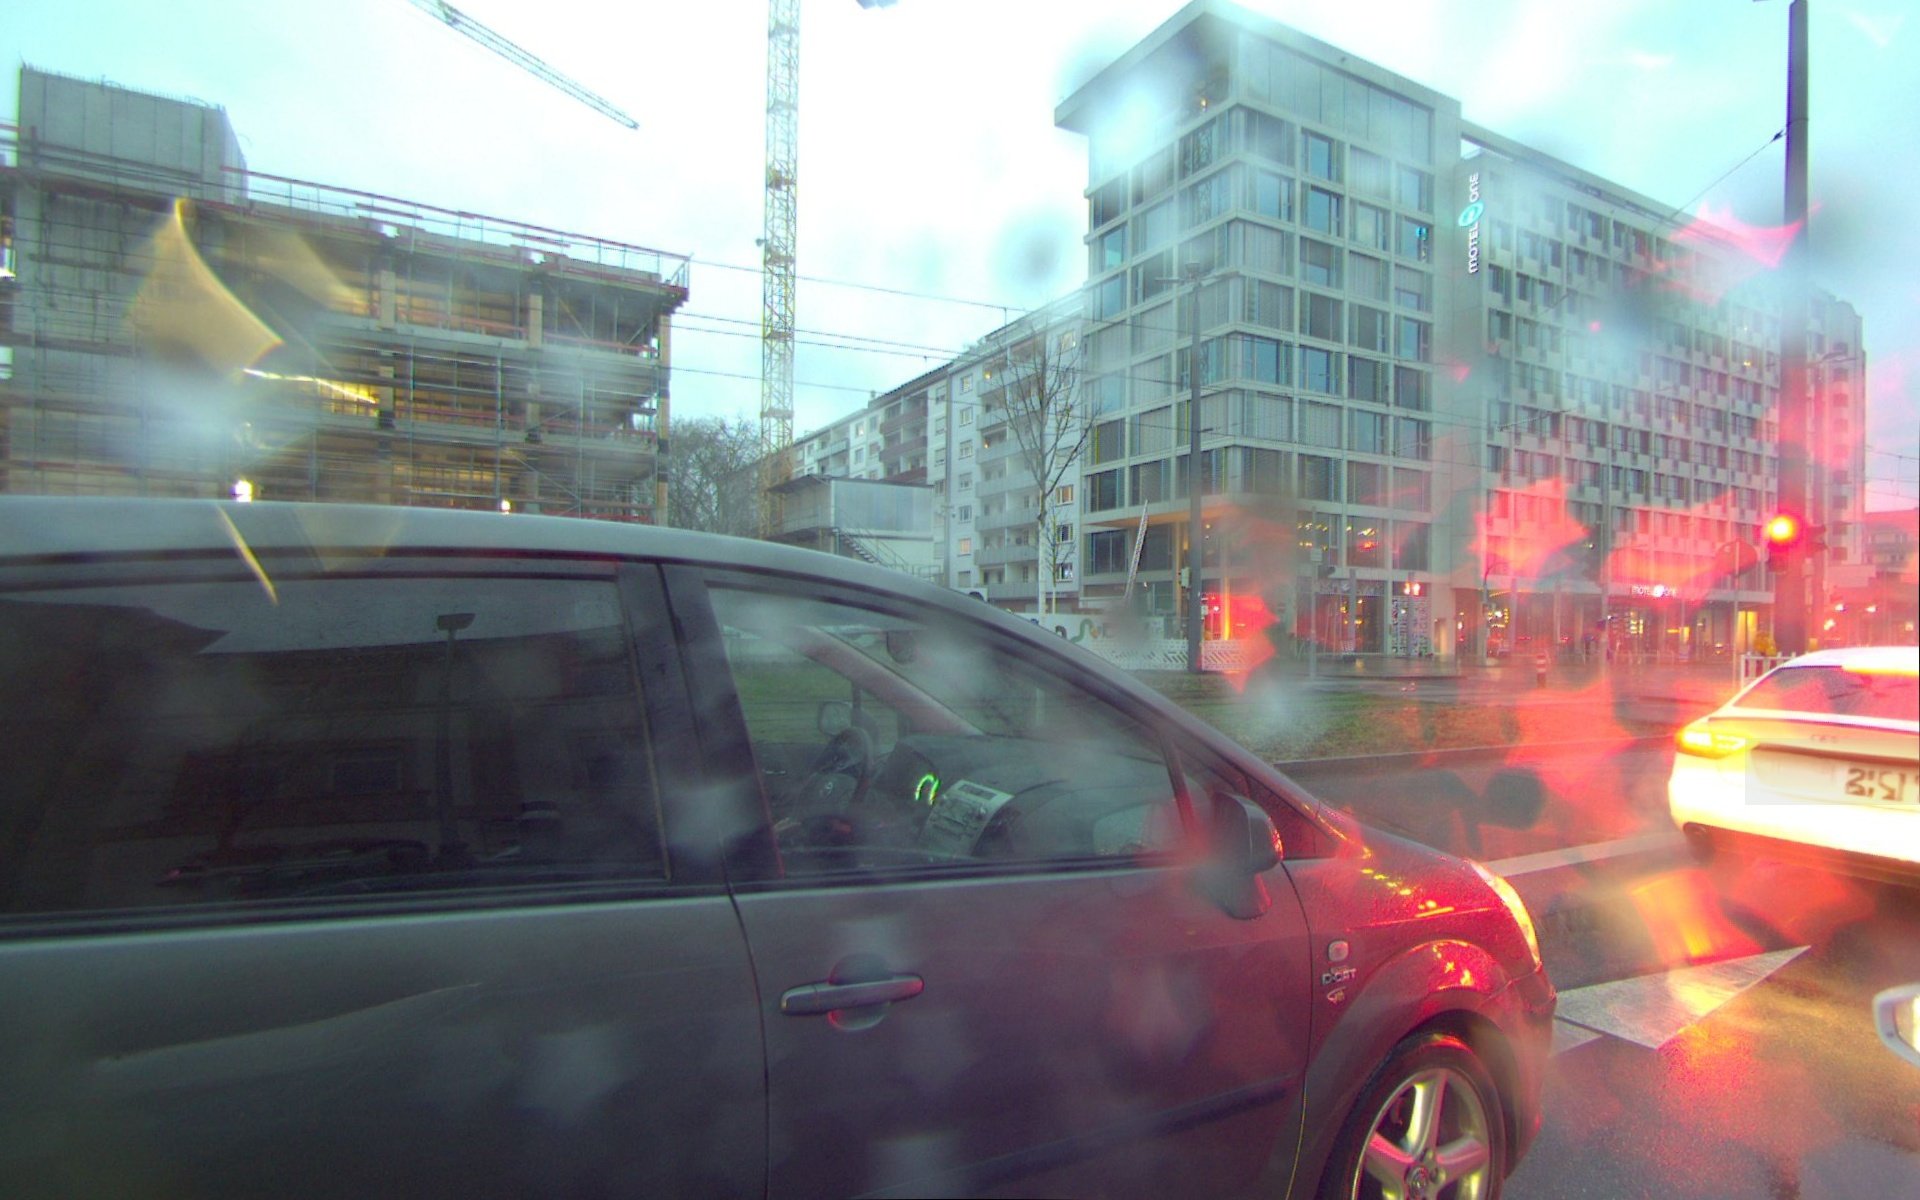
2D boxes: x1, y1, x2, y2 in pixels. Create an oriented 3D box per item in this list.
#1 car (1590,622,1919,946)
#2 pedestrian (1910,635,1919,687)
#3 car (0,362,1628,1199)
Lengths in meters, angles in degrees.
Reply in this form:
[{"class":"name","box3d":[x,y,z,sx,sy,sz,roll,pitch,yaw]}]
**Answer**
[{"class":"car","box3d":[6.062,0.917,6.235,4.320,1.475,1.983,1,0,-32]},{"class":"pedestrian","box3d":[32.800,2.082,34.052,0.808,1.734,0.782,2,0,-45]},{"class":"car","box3d":[-0.564,0.640,2.141,4.089,1.668,1.801,1,0,-32]}]
